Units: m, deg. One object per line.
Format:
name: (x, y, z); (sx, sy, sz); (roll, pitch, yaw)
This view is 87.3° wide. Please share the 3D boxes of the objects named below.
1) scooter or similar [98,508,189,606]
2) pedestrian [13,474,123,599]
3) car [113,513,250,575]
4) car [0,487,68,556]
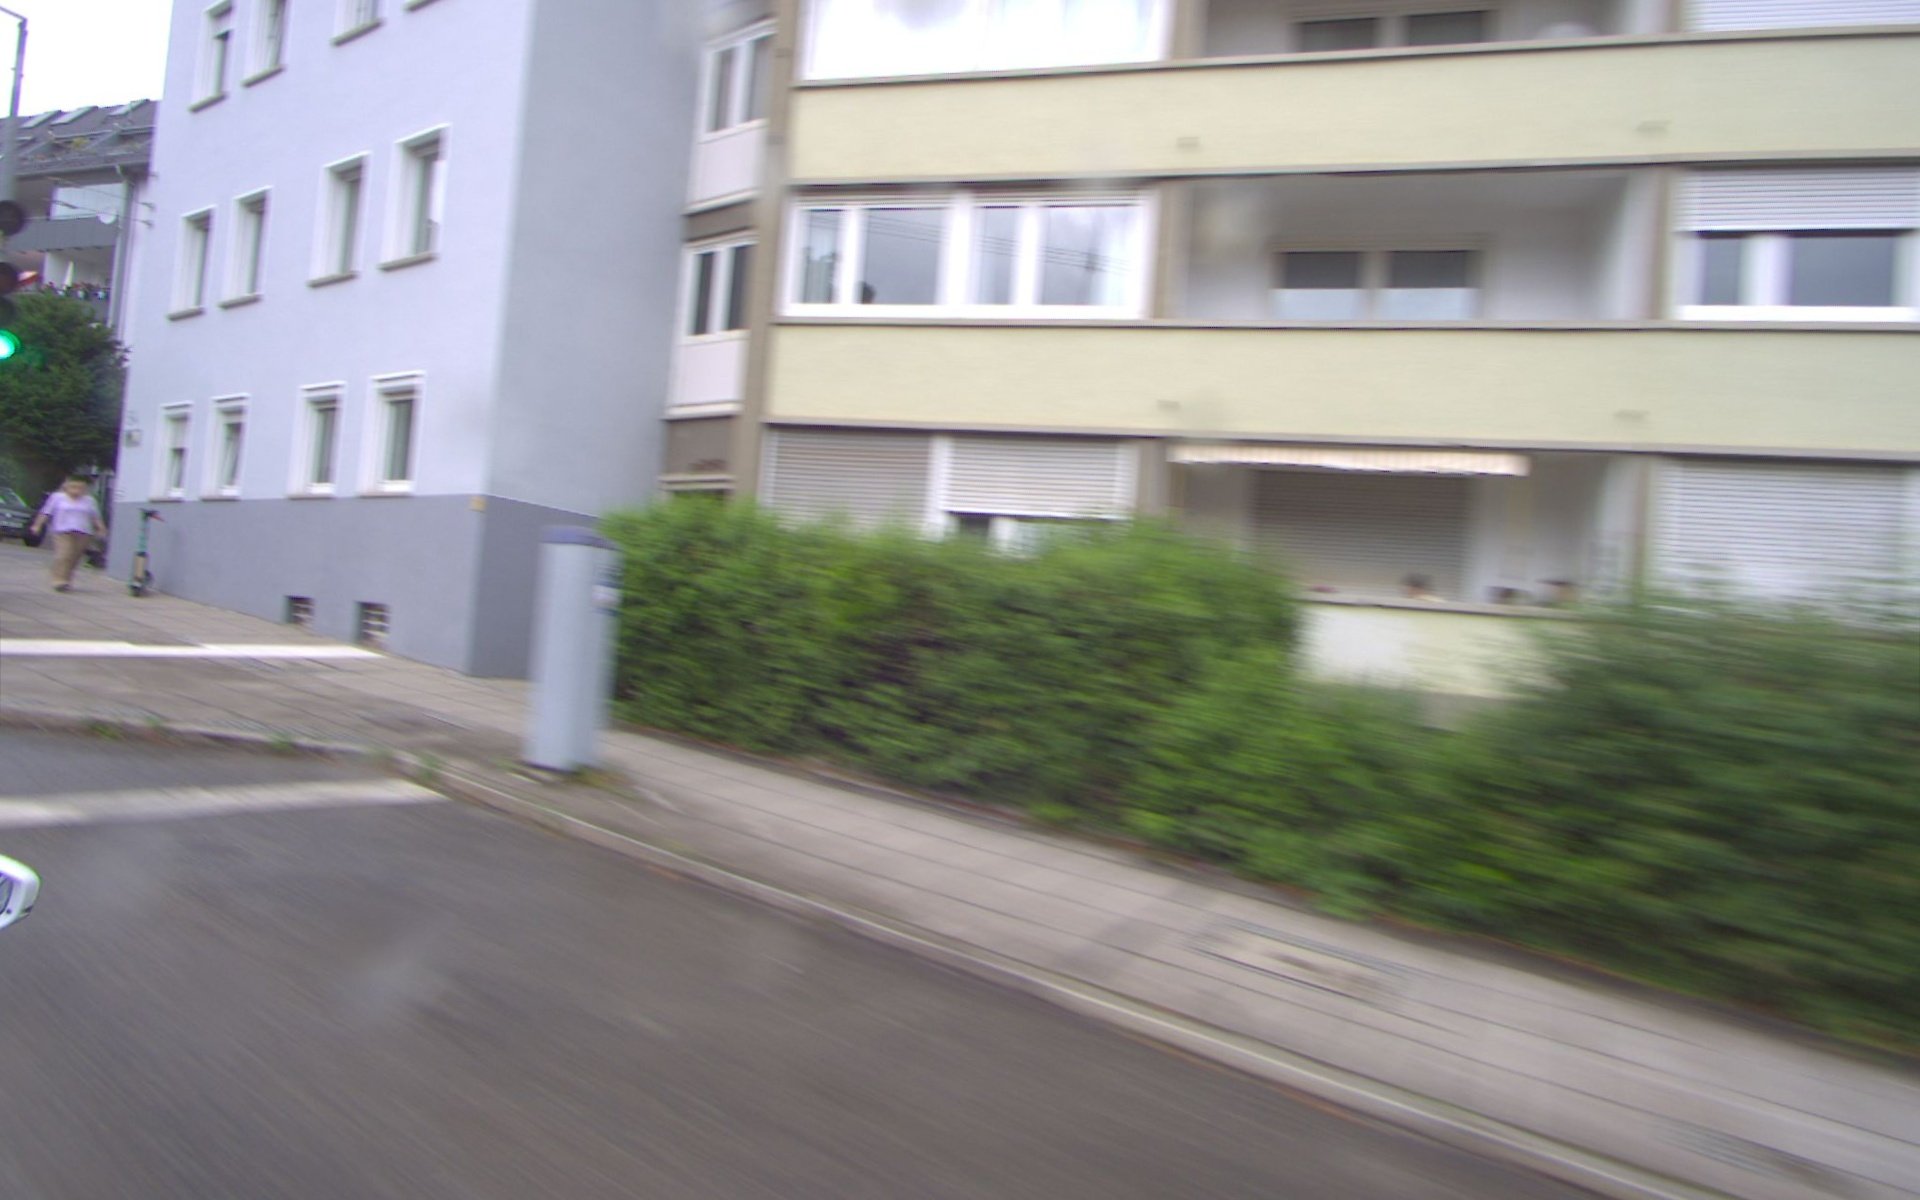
scooter or similar: (-12.059, -0.644, 14.845); (1.585, 1.265, 0.574); (8, 1, 37)
pedestrian: (-12.619, -0.888, 14.241); (0.788, 1.603, 0.883); (9, 2, 34)
car: (-23.962, -1.728, 30.932); (4.357, 1.394, 1.780); (6, -2, 31)
car: (-25.480, -2.071, 26.485); (4.136, 1.531, 1.724); (2, -4, 31)
